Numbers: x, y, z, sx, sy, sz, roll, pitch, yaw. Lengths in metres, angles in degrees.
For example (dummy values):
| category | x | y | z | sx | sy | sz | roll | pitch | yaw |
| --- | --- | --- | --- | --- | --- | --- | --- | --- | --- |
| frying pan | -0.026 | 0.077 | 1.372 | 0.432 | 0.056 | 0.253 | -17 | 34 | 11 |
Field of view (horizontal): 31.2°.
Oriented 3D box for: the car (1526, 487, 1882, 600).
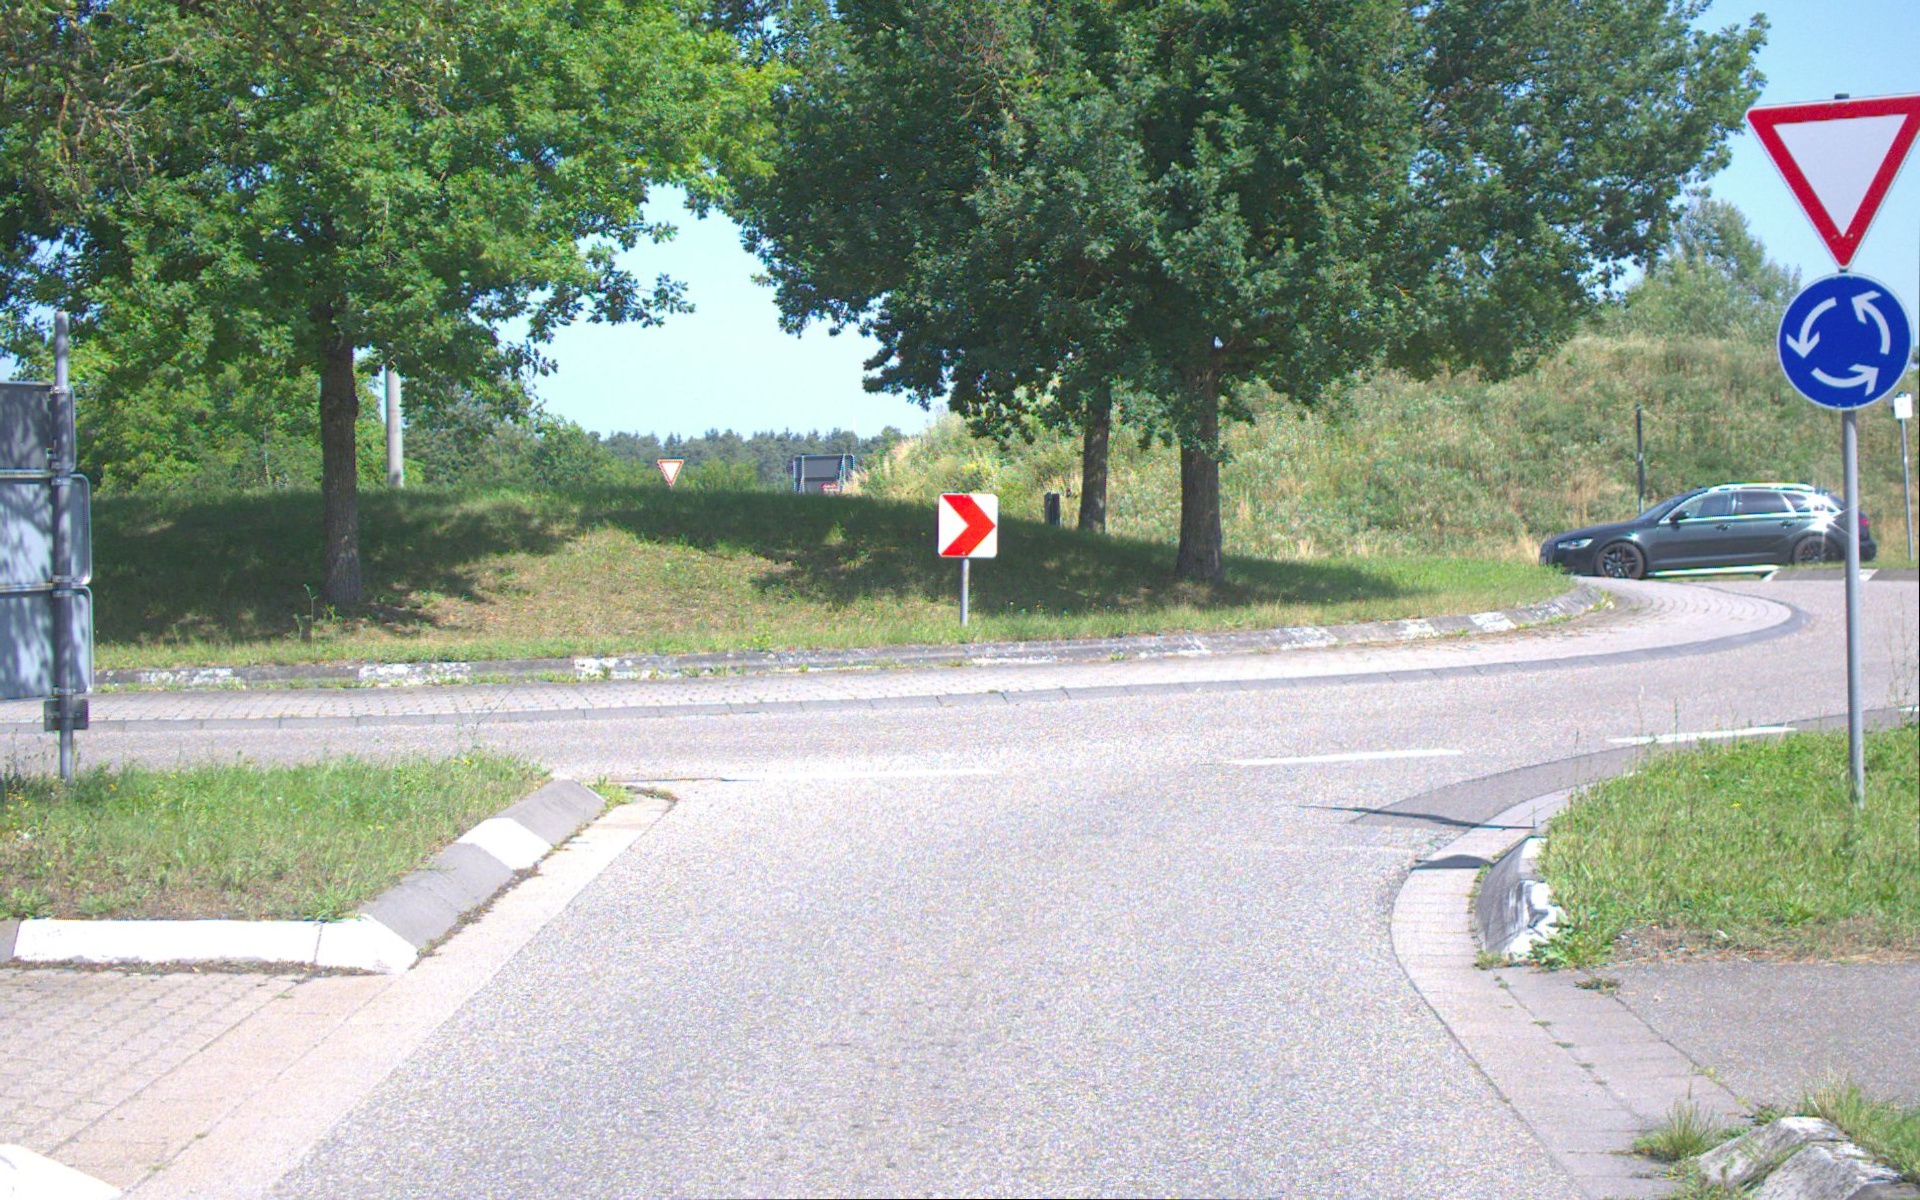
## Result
| category | x | y | z | sx | sy | sz | roll | pitch | yaw |
| --- | --- | --- | --- | --- | --- | --- | --- | --- | --- |
| car | 10.920 | -0.848 | 50.674 | 4.758 | 1.587 | 2.000 | -1 | 2 | -3 |
